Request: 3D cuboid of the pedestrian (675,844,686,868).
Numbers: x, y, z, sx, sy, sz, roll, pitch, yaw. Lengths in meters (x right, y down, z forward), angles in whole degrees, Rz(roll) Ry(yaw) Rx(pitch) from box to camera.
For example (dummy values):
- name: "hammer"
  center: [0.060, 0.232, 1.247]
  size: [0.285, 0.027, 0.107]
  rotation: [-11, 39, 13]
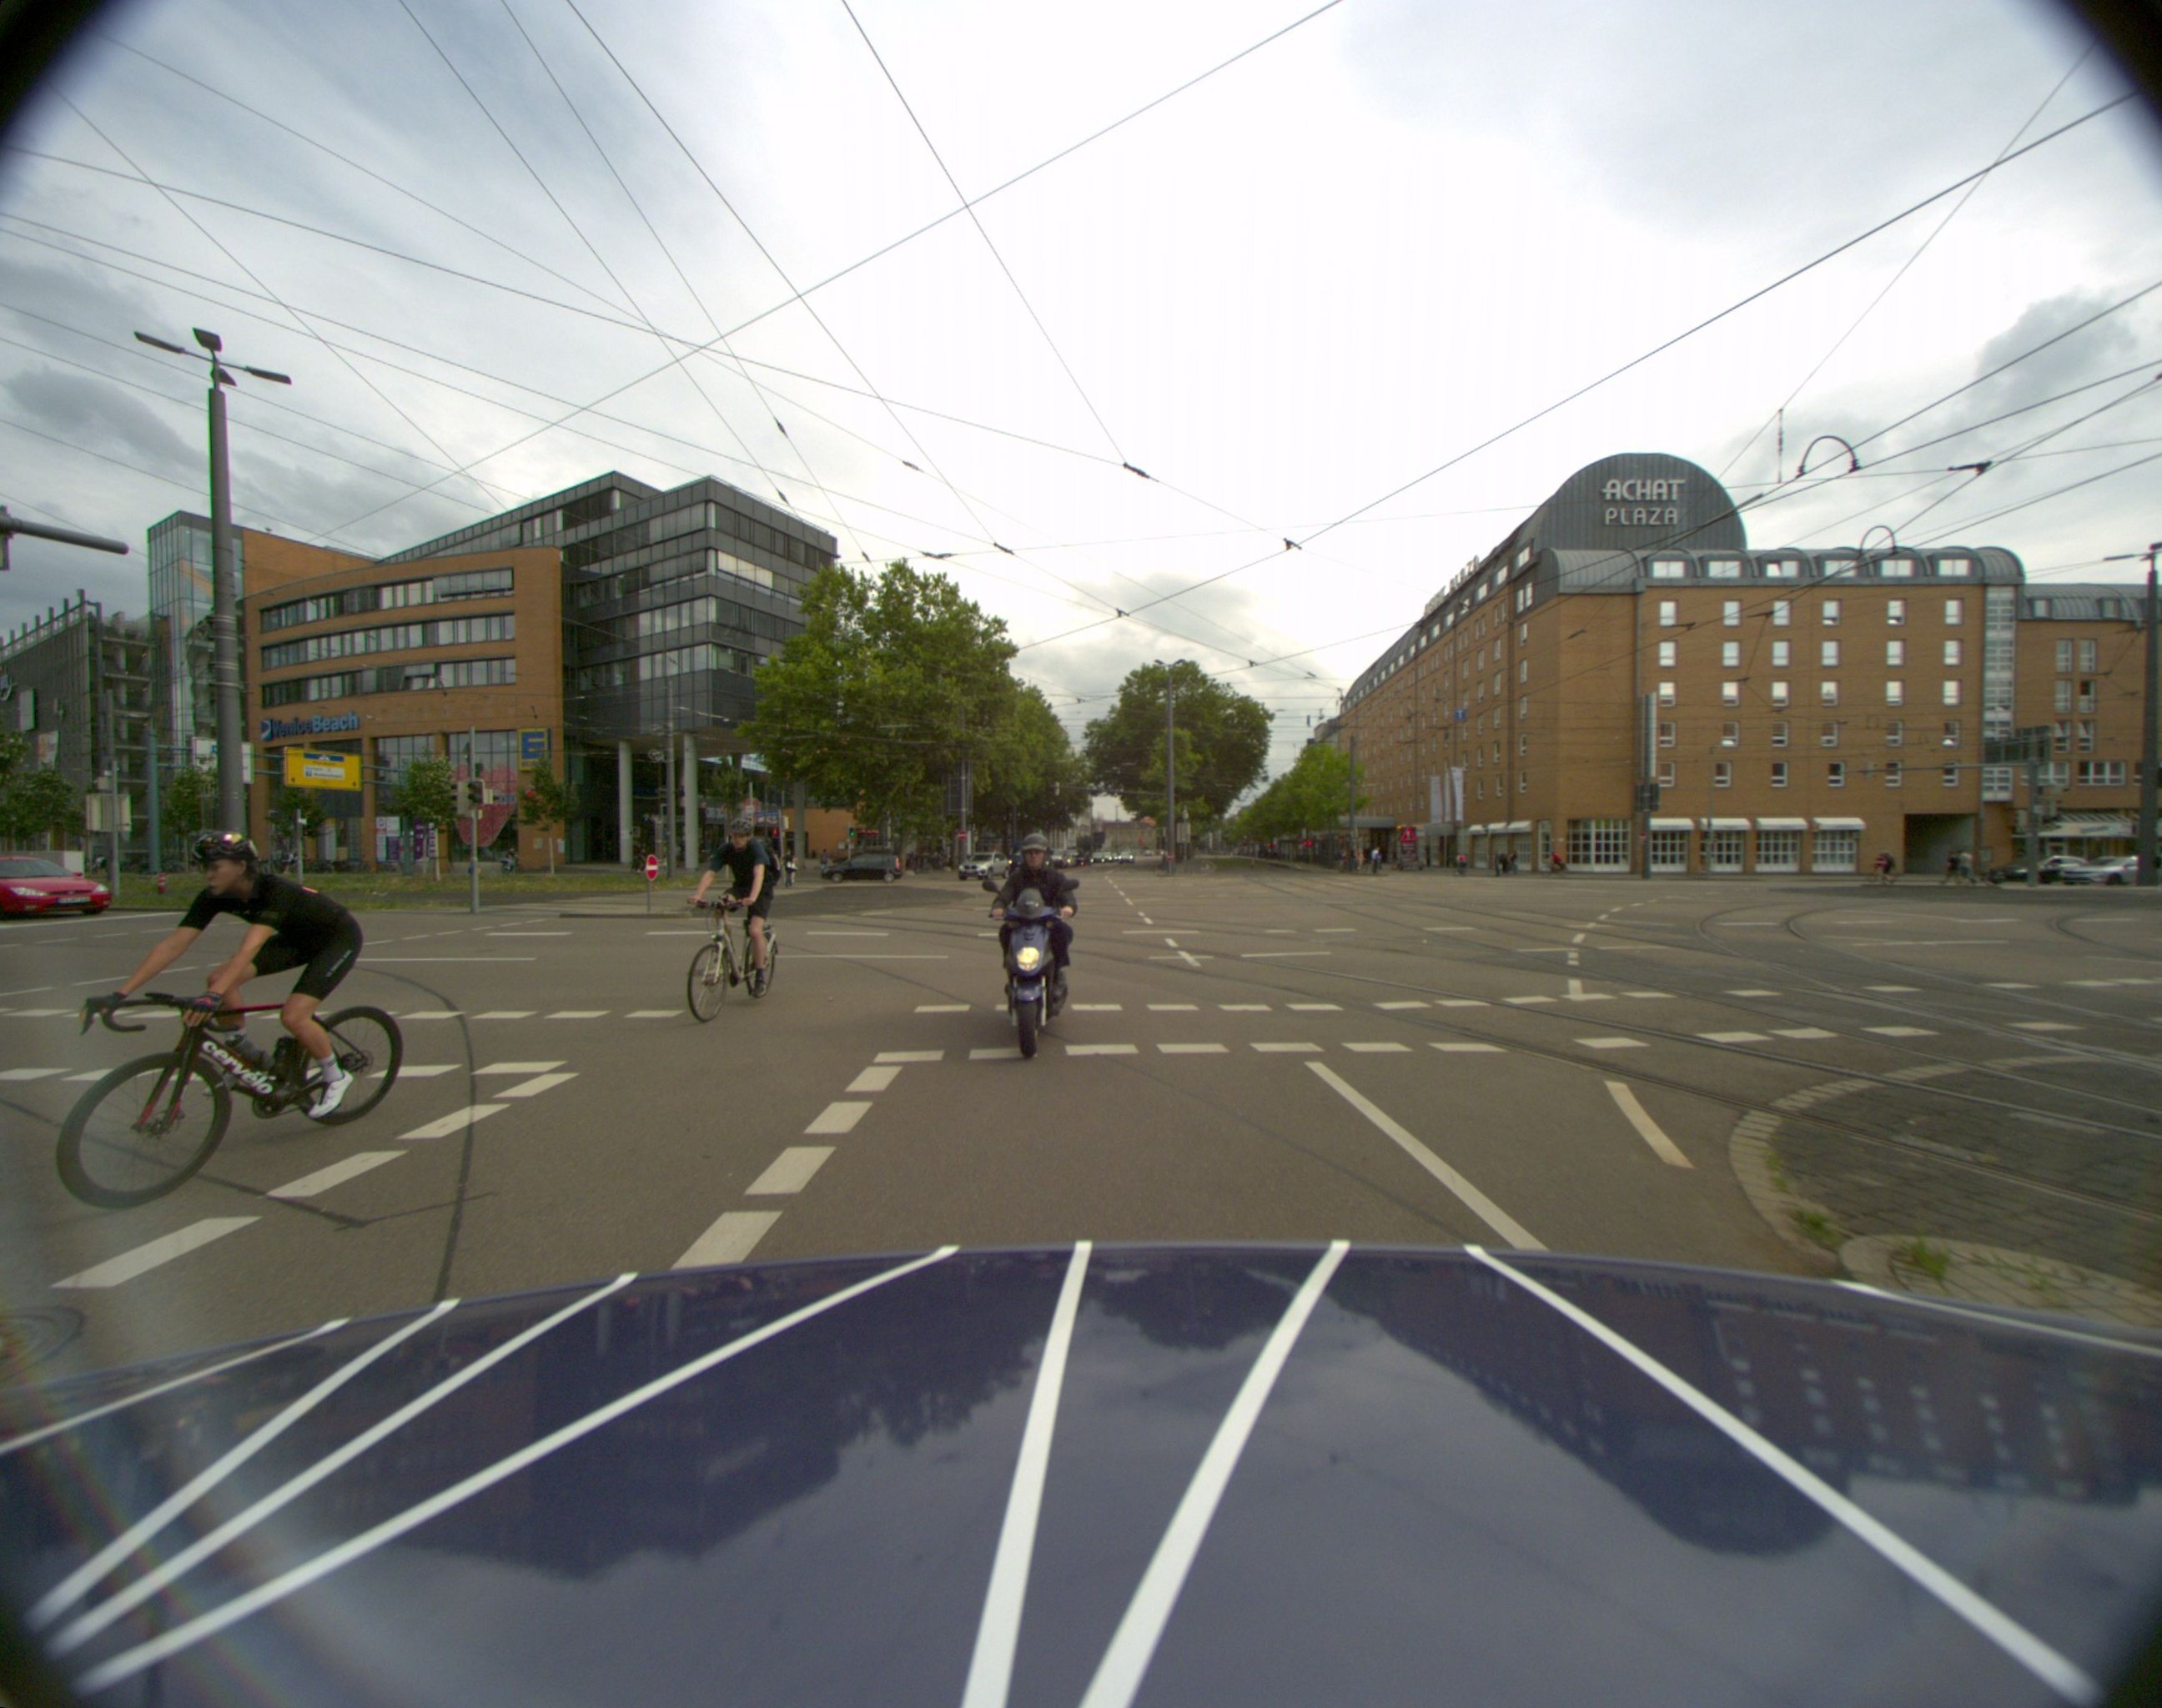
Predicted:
- name: "pedestrian"
  center: [-30.108, 0.144, 57.181]
  size: [0.513, 1.855, 0.547]
  rotation: [1, 1, 35]

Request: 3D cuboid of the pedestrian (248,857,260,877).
- name: "pedestrian"
  center: [-65.577, 1.047, 60.269]
  size: [0.446, 1.590, 0.486]
  rotation: [1, 2, 26]

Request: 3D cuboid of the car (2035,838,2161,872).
- name: "car"
  center: [51.075, 0.031, 38.196]
  size: [3.997, 1.674, 1.800]
  rotation: [0, 1, -1]

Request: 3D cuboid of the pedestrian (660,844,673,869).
- name: "pedestrian"
  center: [-31.275, 0.205, 57.325]
  size: [0.671, 1.855, 0.627]
  rotation: [0, 1, 25]

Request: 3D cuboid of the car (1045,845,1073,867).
- name: "car"
  center: [-2.102, 0.178, 73.833]
  size: [1.997, 2.002, 5.439]
  rotation: [0, 0, 6]

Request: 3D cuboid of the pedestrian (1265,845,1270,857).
- name: "pedestrian"
  center: [25.024, -0.390, 102.065]
  size: [0.648, 1.696, 0.624]
  rotation: [0, 1, 7]

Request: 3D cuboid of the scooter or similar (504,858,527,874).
- name: "scooter or similar"
  center: [-40.236, 0.836, 54.036]
  size: [1.472, 1.160, 0.486]
  rotation: [0, 2, 14]

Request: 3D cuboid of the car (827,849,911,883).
- name: "car"
  center: [-11.381, 0.606, 40.780]
  size: [4.183, 1.728, 1.962]
  rotation: [-1, 1, -18]

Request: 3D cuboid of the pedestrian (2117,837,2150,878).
- name: "pedestrian"
  center: [45.276, 0.143, 32.698]
  size: [0.632, 1.722, 0.578]
  rotation: [-1, 2, -9]

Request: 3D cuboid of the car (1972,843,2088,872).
- name: "car"
  center: [50.710, 0.174, 40.651]
  size: [3.997, 1.470, 1.800]
  rotation: [0, 1, -1]

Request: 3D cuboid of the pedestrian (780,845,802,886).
- name: "pedestrian"
  center: [-12.789, 0.493, 33.485]
  size: [0.677, 1.781, 0.669]
  rotation: [0, 1, 4]

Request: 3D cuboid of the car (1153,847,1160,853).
- name: "car"
  center: [22.239, -1.091, 223.993]
  size: [1.668, 1.699, 3.999]
  rotation: [0, 1, 0]

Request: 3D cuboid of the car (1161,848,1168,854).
- name: "car"
  center: [24.552, -1.011, 224.505]
  size: [1.668, 1.699, 3.999]
  rotation: [0, 1, 0]

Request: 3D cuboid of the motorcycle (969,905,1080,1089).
- name: "motorcycle"
  center: [-0.400, 1.082, 6.446]
  size: [0.769, 1.101, 2.207]
  rotation: [0, 1, 0]

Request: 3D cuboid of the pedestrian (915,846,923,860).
- name: "pedestrian"
  center: [-16.910, -0.122, 79.339]
  size: [0.586, 1.502, 0.683]
  rotation: [1, 3, 26]

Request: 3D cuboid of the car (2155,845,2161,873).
- name: "car"
  center: [57.424, 0.236, 38.373]
  size: [3.997, 1.434, 1.702]
  rotation: [0, 1, -1]

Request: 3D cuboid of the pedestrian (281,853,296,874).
- name: "pedestrian"
  center: [-60.564, 0.738, 58.075]
  size: [0.446, 1.590, 0.617]
  rotation: [1, 2, 26]

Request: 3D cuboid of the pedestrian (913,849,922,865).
- name: "pedestrian"
  center: [-15.614, 0.294, 72.372]
  size: [0.587, 1.502, 0.683]
  rotation: [0, 2, 14]

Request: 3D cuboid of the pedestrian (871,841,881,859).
- name: "pedestrian"
  center: [-19.683, -0.374, 72.910]
  size: [0.745, 1.722, 0.586]
  rotation: [-2, 2, -45]

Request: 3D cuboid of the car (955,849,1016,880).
- name: "car"
  center: [-5.705, 0.603, 45.898]
  size: [1.961, 1.651, 4.643]
  rotation: [-2, 1, 15]

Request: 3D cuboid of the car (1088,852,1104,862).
- name: "car"
  center: [2.017, 0.389, 102.360]
  size: [1.711, 1.270, 4.002]
  rotation: [0, 1, 9]

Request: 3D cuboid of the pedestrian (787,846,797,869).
- name: "pedestrian"
  center: [-23.562, 0.306, 62.038]
  size: [0.545, 1.855, 0.515]
  rotation: [0, 1, 29]

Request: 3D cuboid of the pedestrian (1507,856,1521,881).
- name: "pedestrian"
  center: [29.897, 0.969, 52.468]
  size: [0.579, 1.722, 0.749]
  rotation: [-1, 1, -44]

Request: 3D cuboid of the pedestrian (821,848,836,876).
- name: "pedestrian"
  center: [-15.963, 0.488, 48.084]
  size: [0.587, 1.722, 0.744]
  rotation: [0, 1, 10]

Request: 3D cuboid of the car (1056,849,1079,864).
- name: "car"
  center: [-1.368, 0.281, 81.088]
  size: [1.914, 1.533, 4.094]
  rotation: [0, 0, 6]

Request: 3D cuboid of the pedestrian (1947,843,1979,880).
- name: "pedestrian"
  center: [42.159, 0.343, 36.321]
  size: [0.578, 1.722, 0.750]
  rotation: [0, 2, -5]

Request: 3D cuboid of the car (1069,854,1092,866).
- name: "car"
  center: [-0.041, 0.660, 88.491]
  size: [1.997, 1.270, 4.002]
  rotation: [0, 1, 9]

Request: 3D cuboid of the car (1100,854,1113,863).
- name: "car"
  center: [3.850, 0.651, 113.381]
  size: [1.574, 1.270, 3.734]
  rotation: [0, 1, 9]

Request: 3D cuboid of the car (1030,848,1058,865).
- name: "car"
  center: [-3.173, 0.191, 66.029]
  size: [1.756, 1.410, 4.275]
  rotation: [1, 1, 7]

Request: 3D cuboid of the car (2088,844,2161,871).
- name: "car"
  center: [57.651, 0.183, 41.143]
  size: [3.997, 1.434, 1.702]
  rotation: [0, 1, -1]

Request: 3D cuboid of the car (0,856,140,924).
- name: "car"
  center: [-24.991, 0.805, 17.854]
  size: [3.994, 1.425, 1.824]
  rotation: [0, 2, 10]

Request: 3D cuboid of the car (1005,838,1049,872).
- name: "car"
  center: [-4.020, 0.048, 58.048]
  size: [2.174, 2.442, 6.999]
  rotation: [-1, 1, 5]

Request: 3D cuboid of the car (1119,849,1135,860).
- name: "car"
  center: [5.807, 0.112, 95.953]
  size: [1.845, 1.369, 3.835]
  rotation: [0, -1, 6]
